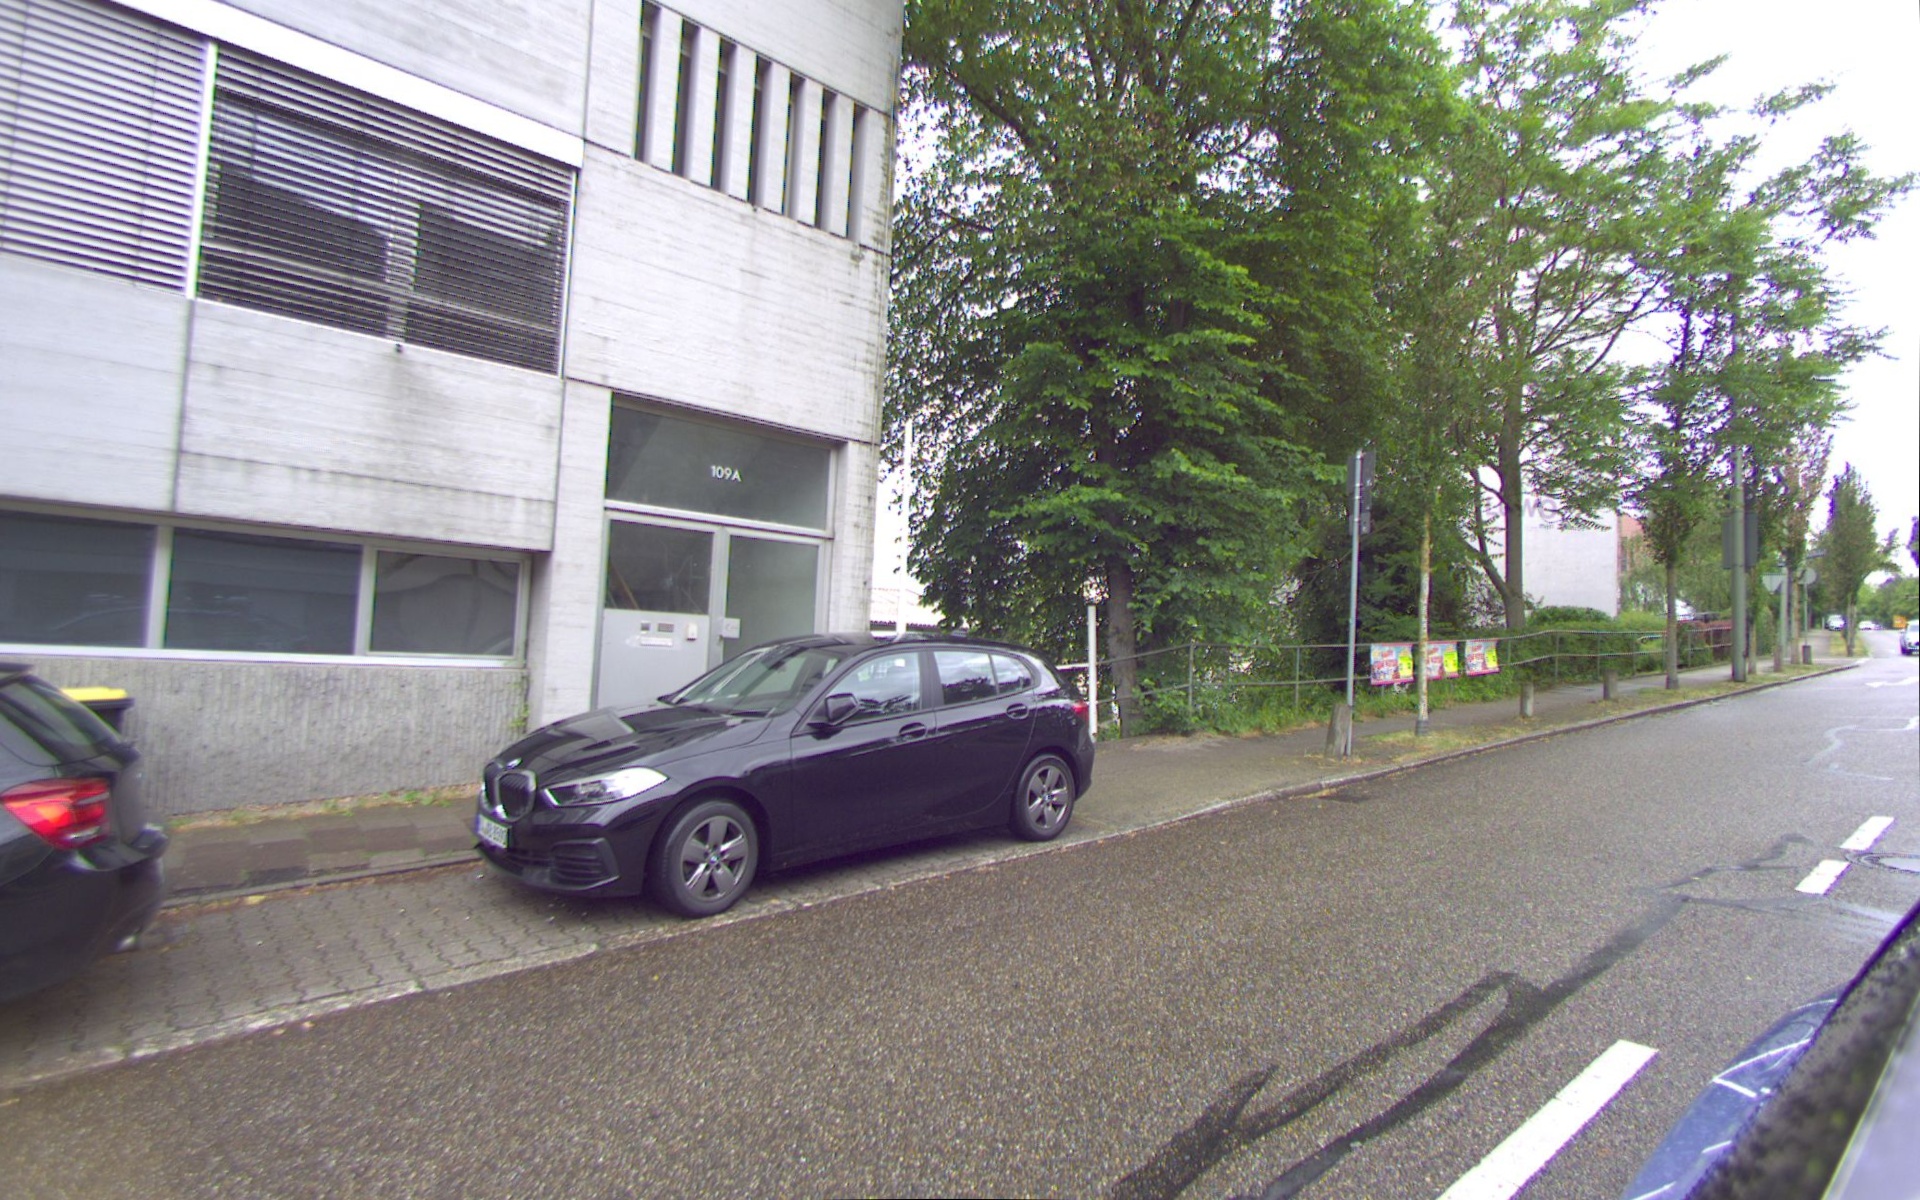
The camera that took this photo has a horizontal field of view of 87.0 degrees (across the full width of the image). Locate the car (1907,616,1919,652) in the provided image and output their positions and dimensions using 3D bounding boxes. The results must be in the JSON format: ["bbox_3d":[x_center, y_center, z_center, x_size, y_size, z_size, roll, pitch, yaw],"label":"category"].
[{"bbox_3d":[46.945,1.640,48.397,1.824,1.638,4.295,-1,0,36],"label":"car"}]

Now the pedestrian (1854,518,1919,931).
[{"bbox_3d":[4.692,0.528,4.273,0.807,1.805,1.075,-1,-2,-24],"label":"pedestrian"}]

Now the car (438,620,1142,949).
[{"bbox_3d":[-0.896,0.890,6.888,4.367,1.453,1.996,0,-1,-43],"label":"car"}]

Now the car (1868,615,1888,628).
[{"bbox_3d":[129.818,3.040,143.064,1.888,1.741,4.169,2,2,45],"label":"car"}]

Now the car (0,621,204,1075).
[{"bbox_3d":[-4.960,0.845,3.127,4.173,1.466,1.753,0,0,-38],"label":"car"}]
